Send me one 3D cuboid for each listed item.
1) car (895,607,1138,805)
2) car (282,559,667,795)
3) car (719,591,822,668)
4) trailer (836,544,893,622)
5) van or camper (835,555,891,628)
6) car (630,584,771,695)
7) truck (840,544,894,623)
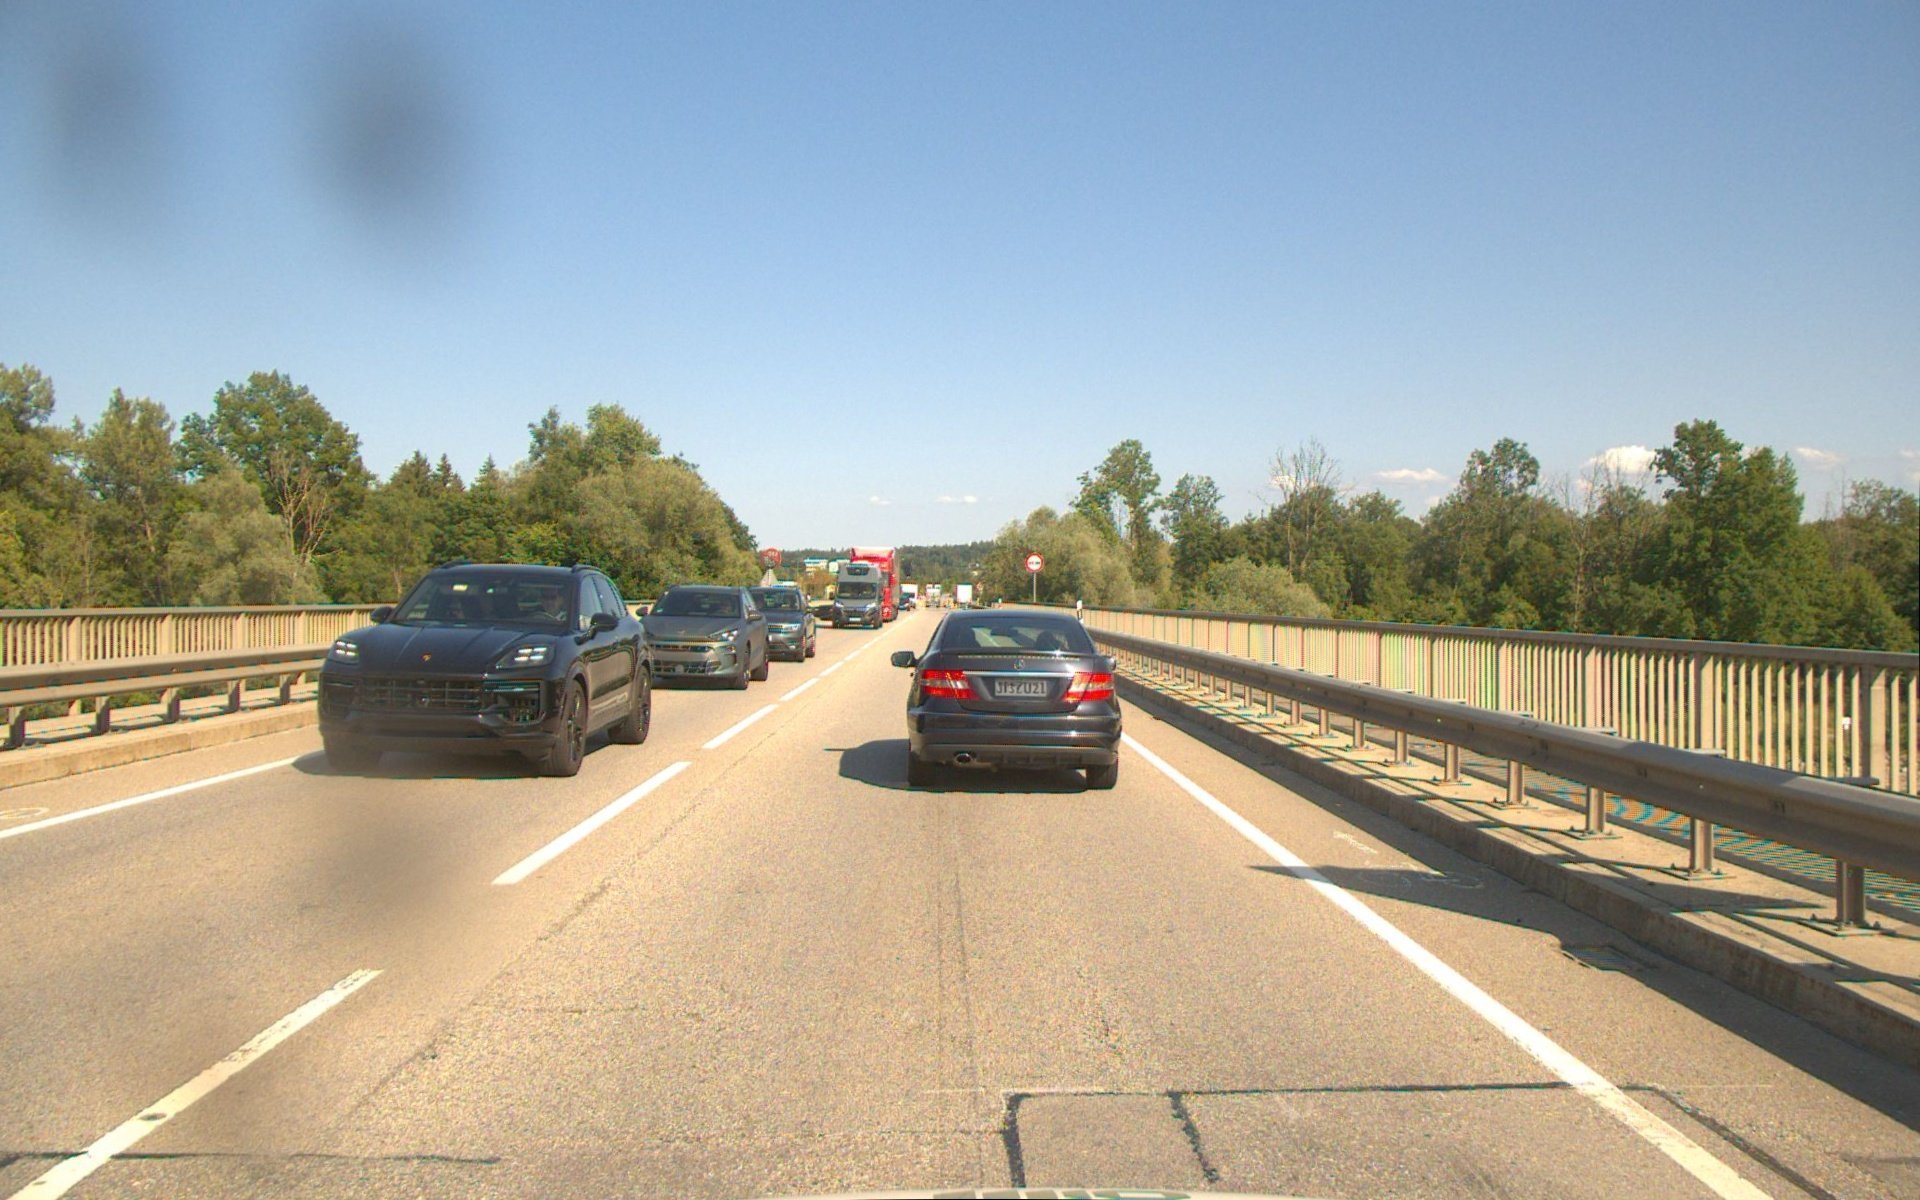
[{"bbox_3d":[0.427,0.785,14.113,1.756,1.400,4.000,1,0,0],"label":"car"},{"bbox_3d":[-3.986,0.565,14.536,2.012,1.681,4.720,2,0,-1],"label":"car"},{"bbox_3d":[-4.246,0.627,37.680,1.836,1.611,4.273,2,0,0],"label":"car"},{"bbox_3d":[-5.949,-0.991,101.180,2.851,4.377,14.285,2,0,-5],"label":"trailer"},{"bbox_3d":[-4.254,-0.373,73.804,2.268,3.104,6.815,1,0,-2],"label":"van or camper"},{"bbox_3d":[-4.100,0.589,26.676,1.770,1.605,4.198,2,0,-3],"label":"car"},{"bbox_3d":[-5.307,-0.904,93.774,2.851,4.257,5.708,2,0,-4],"label":"truck"}]
